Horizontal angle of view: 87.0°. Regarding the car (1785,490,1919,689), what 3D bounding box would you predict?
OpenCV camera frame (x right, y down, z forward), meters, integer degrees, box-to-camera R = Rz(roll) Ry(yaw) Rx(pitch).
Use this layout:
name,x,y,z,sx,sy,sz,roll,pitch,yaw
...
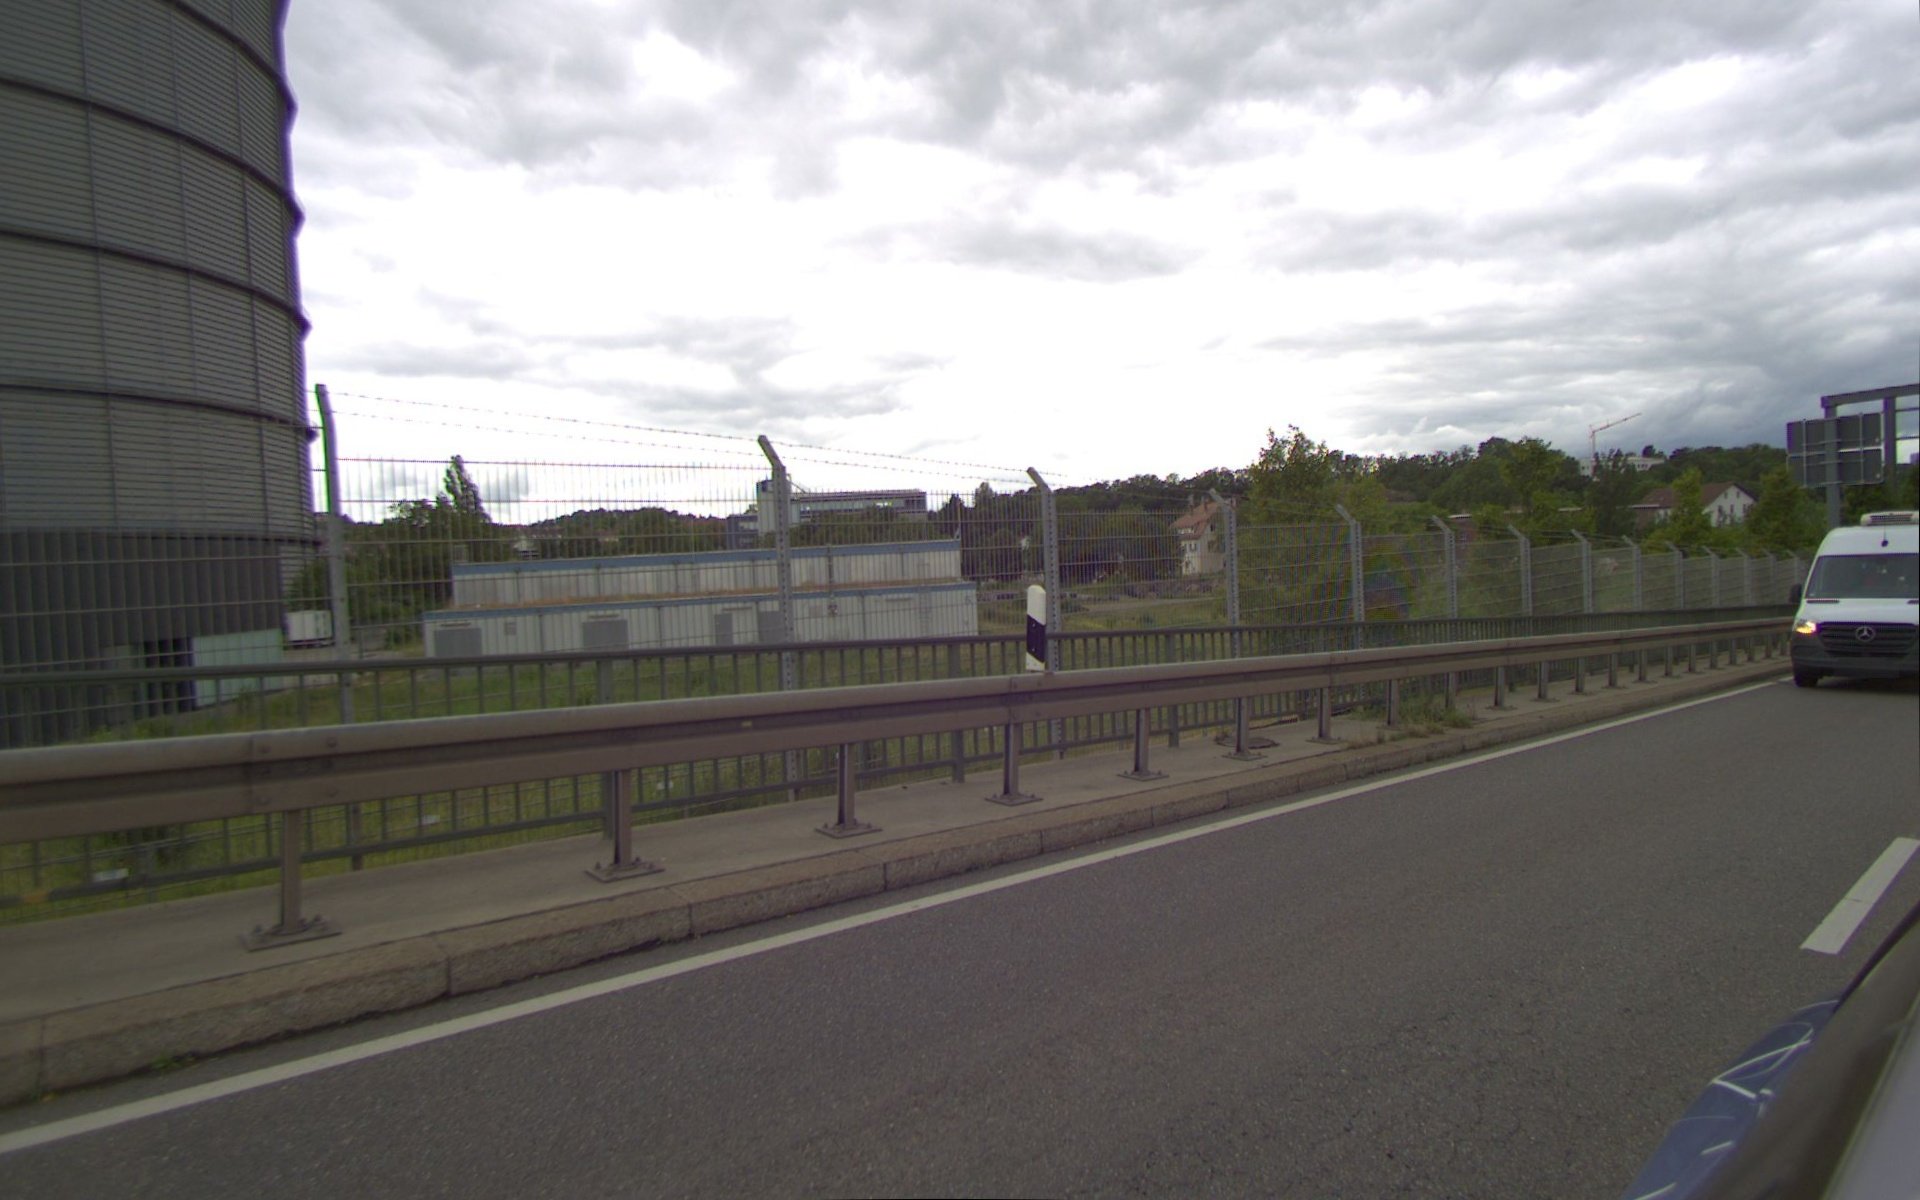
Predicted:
name,x,y,z,sx,sy,sz,roll,pitch,yaw
car,15.881,-0.202,16.834,6.659,2.818,2.115,-1,1,-40
